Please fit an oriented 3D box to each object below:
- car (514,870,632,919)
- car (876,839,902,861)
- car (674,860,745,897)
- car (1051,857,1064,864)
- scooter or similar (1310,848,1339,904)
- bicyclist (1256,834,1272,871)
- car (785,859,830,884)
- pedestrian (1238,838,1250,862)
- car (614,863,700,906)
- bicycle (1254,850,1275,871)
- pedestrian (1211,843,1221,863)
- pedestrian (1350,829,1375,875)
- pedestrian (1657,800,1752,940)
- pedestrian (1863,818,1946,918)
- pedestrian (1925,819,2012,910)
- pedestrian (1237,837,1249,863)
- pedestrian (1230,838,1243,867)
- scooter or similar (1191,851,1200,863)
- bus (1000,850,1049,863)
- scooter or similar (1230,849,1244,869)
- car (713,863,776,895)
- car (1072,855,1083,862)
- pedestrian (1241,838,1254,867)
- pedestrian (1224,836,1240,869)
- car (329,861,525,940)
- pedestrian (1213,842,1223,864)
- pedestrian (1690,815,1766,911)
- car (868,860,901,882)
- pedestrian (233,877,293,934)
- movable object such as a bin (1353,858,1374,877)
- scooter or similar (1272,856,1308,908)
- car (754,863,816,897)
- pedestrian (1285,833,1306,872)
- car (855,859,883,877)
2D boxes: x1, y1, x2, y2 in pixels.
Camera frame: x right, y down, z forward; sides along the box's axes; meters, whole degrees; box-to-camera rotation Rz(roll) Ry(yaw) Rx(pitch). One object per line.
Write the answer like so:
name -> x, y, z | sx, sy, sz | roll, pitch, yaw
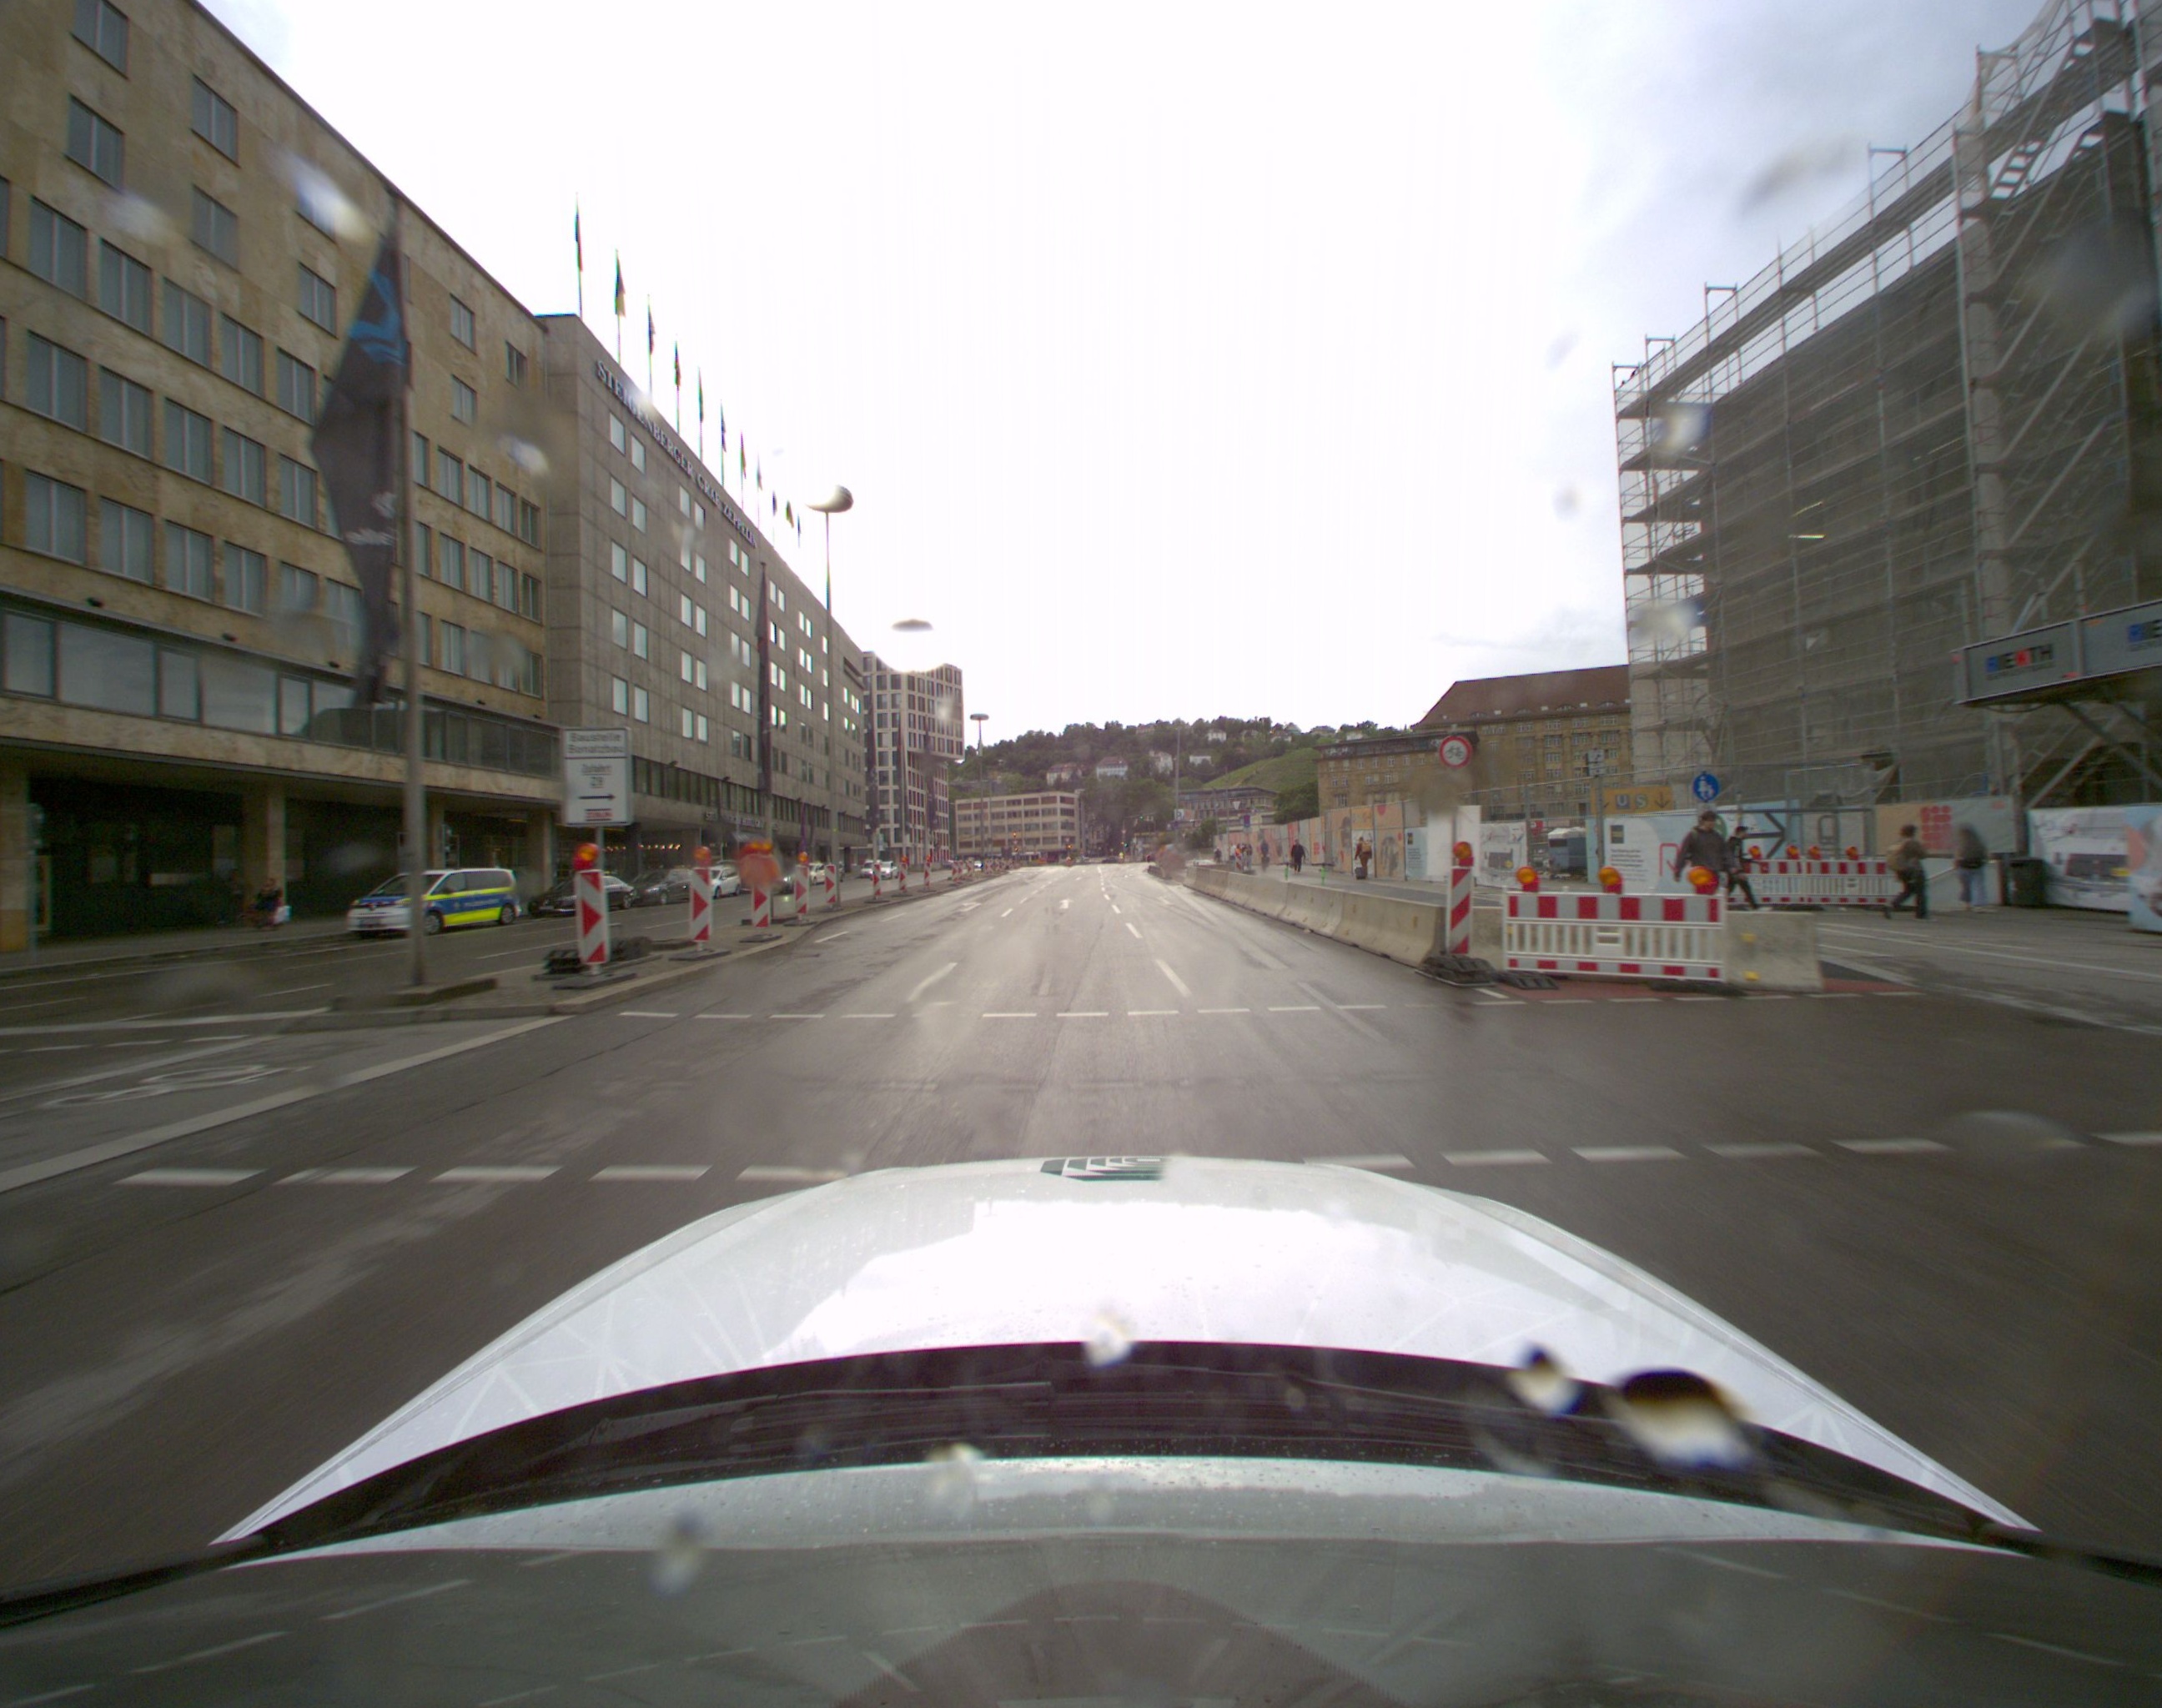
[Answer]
car -> -19.405, 1.501, 31.379 | 1.750, 1.621, 4.560 | -2, 0, -3
car -> -20.662, -0.430, 87.857 | 1.769, 2.327, 4.368 | -2, 0, -2
car -> -19.605, 1.260, 43.208 | 1.750, 1.758, 4.706 | -2, 0, -3
car -> -5.643, 1.581, 194.502 | 1.738, 1.492, 4.045 | -2, 0, -24
scooter or similar -> 6.001, 0.536, 20.083 | 0.487, 1.333, 1.031 | -2, 0, 25
bicyclist -> 10.086, -0.091, 44.904 | 0.724, 2.013, 0.599 | -2, 0, 2
car -> -20.113, 1.262, 60.046 | 1.811, 1.698, 4.574 | -2, 0, -2
pedestrian -> 13.125, -0.341, 65.620 | 0.701, 1.866, 0.991 | -2, 0, 2
car -> -19.256, 1.334, 37.204 | 1.750, 1.681, 4.224 | -2, 0, -3
bicycle -> 10.105, 0.341, 44.865 | 0.762, 1.112, 1.982 | -2, 0, 3
pedestrian -> 11.987, -0.098, 72.365 | 0.681, 1.740, 0.907 | -2, 0, 0
pedestrian -> 11.737, -0.074, 33.951 | 0.764, 1.895, 0.654 | -2, 0, 2
pedestrian -> 9.352, 0.217, 12.251 | 0.782, 2.011, 0.867 | -3, 2, 7
pedestrian -> 15.105, 0.251, 14.957 | 0.811, 1.755, 0.648 | -2, 0, -3
pedestrian -> 17.913, 0.202, 16.450 | 0.810, 1.755, 0.806 | -2, 0, 2
pedestrian -> 12.034, -0.321, 60.407 | 0.681, 1.889, 0.693 | -2, 0, -1
pedestrian -> 10.254, -0.123, 53.746 | 0.680, 1.889, 0.694 | -2, 0, 3
scooter or similar -> 11.057, 0.283, 78.623 | 0.467, 1.183, 1.411 | -2, 0, -8
bus -> -13.794, 0.683, 198.165 | 13.799, 2.750, 3.231 | -2, 0, 43
scooter or similar -> 9.451, 0.301, 49.291 | 0.662, 1.198, 1.045 | -2, 0, 3
car -> -20.080, 1.456, 48.788 | 1.897, 1.659, 4.613 | -2, 0, -2
car -> -0.824, 0.906, 182.938 | 1.730, 1.492, 4.063 | -2, 0, -10
pedestrian -> 10.968, -0.114, 53.703 | 0.680, 1.889, 0.694 | -2, 0, 3
pedestrian -> 9.318, -0.090, 50.367 | 0.799, 2.016, 0.973 | -2, 0, 3
car -> -19.442, 1.284, 24.607 | 1.896, 1.928, 5.070 | -3, 1, -3
pedestrian -> 11.249, -0.096, 66.916 | 0.640, 1.740, 0.838 | -2, 0, 0
pedestrian -> 12.820, 0.177, 16.152 | 0.679, 1.849, 0.991 | -2, -1, -40
car -> -16.899, 1.432, 70.152 | 1.819, 1.669, 4.496 | -2, 0, -2
pedestrian -> -23.681, 1.475, 23.585 | 0.712, 1.549, 0.958 | -2, 0, 4
movable object such as a bin -> 11.628, 0.539, 33.561 | 0.594, 0.734, 0.778 | -2, 0, 2
scooter or similar -> 5.571, 0.726, 21.705 | 0.524, 1.333, 1.022 | -2, 0, -9
car -> -16.439, 1.395, 45.431 | 1.769, 1.669, 4.498 | -3, 0, -1
pedestrian -> 10.800, -0.084, 41.078 | 0.845, 1.895, 0.662 | -2, 0, 2
car -> -21.136, 1.374, 81.394 | 1.769, 1.762, 4.368 | -2, 0, -2
